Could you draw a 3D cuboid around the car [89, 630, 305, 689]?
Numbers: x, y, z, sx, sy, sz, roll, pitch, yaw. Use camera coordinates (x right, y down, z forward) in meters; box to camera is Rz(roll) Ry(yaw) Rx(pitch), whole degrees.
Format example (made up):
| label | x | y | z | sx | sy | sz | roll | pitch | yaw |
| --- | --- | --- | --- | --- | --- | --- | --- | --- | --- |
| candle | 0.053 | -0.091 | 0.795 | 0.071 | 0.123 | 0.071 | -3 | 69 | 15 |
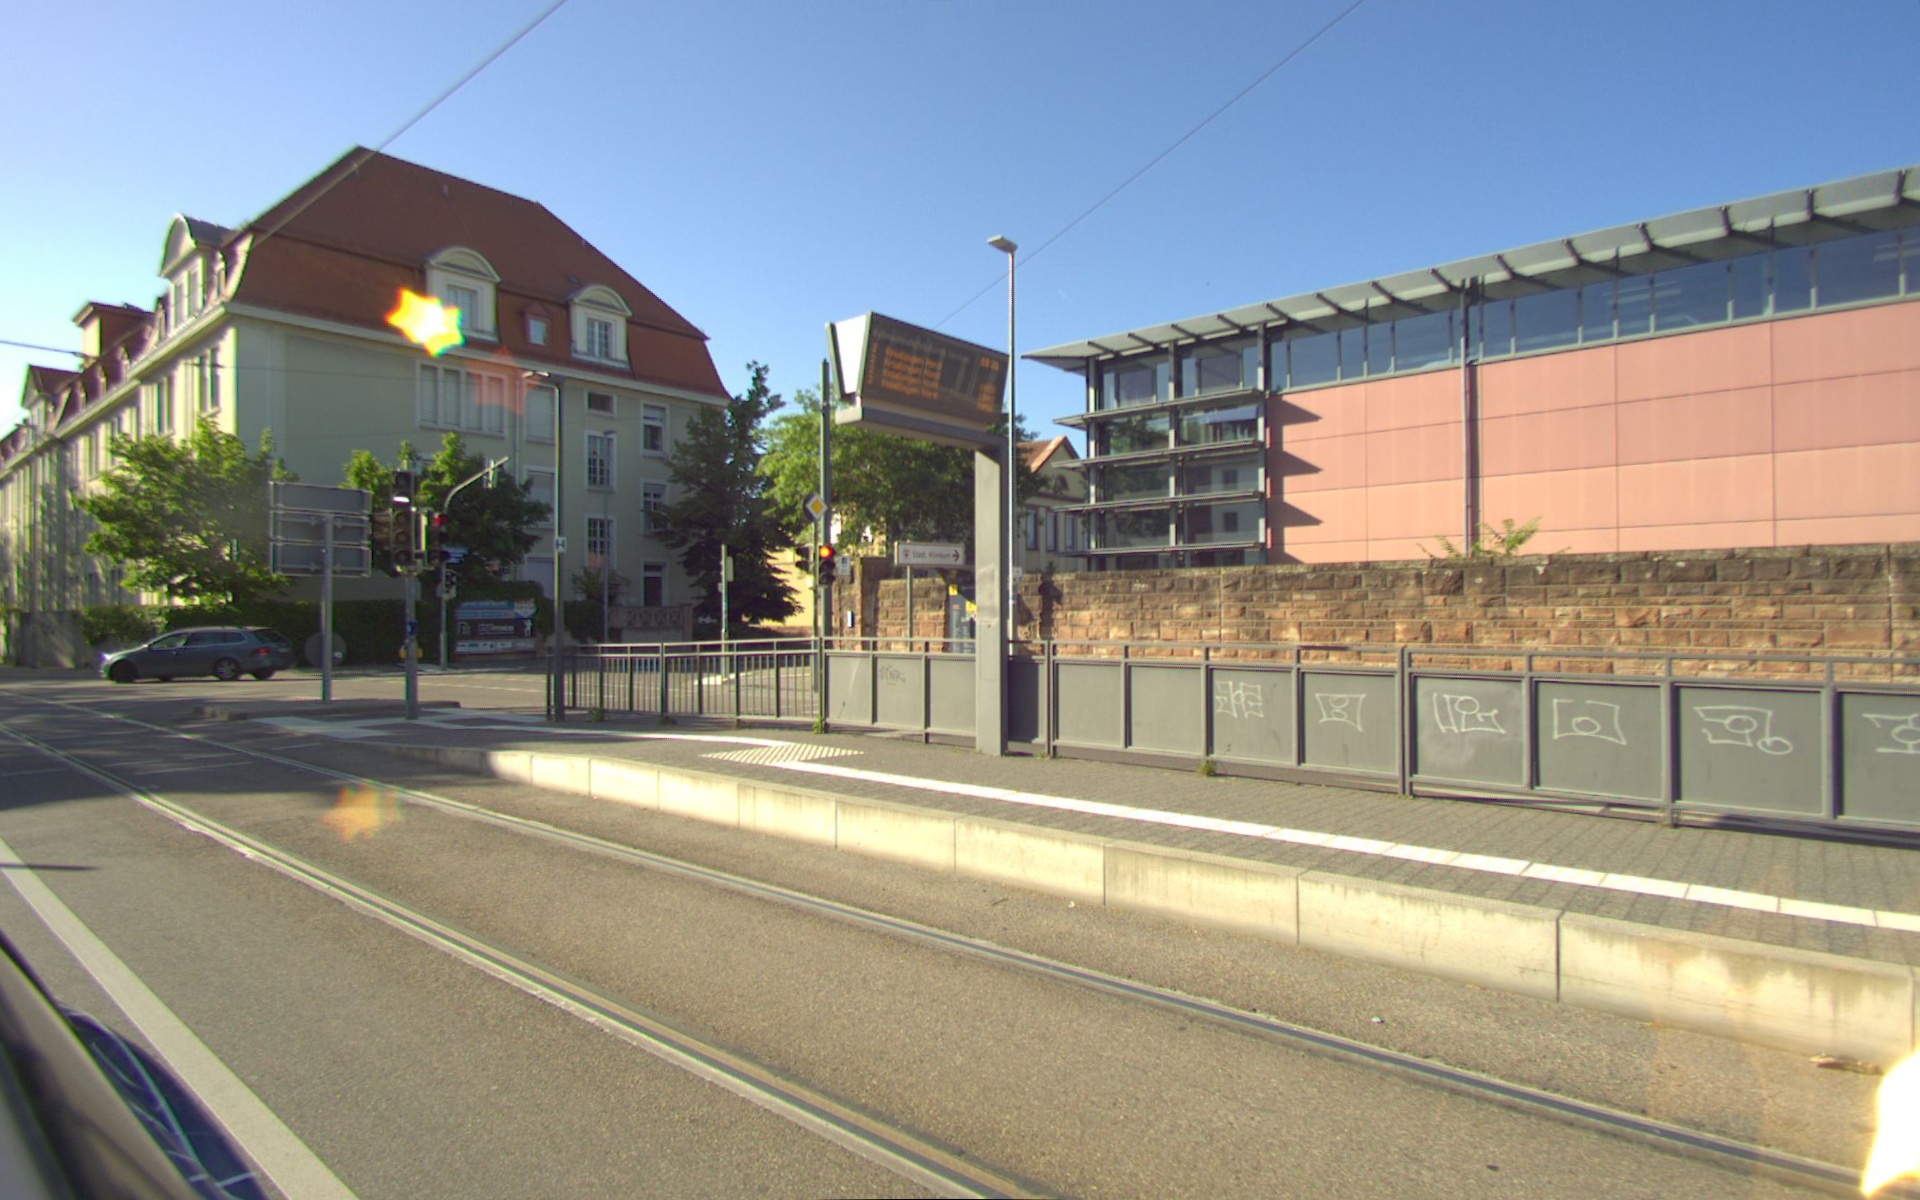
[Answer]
| label | x | y | z | sx | sy | sz | roll | pitch | yaw |
| --- | --- | --- | --- | --- | --- | --- | --- | --- | --- |
| car | -20.377 | 1.560 | 27.215 | 4.334 | 1.470 | 1.747 | 0 | -1 | -9 |
